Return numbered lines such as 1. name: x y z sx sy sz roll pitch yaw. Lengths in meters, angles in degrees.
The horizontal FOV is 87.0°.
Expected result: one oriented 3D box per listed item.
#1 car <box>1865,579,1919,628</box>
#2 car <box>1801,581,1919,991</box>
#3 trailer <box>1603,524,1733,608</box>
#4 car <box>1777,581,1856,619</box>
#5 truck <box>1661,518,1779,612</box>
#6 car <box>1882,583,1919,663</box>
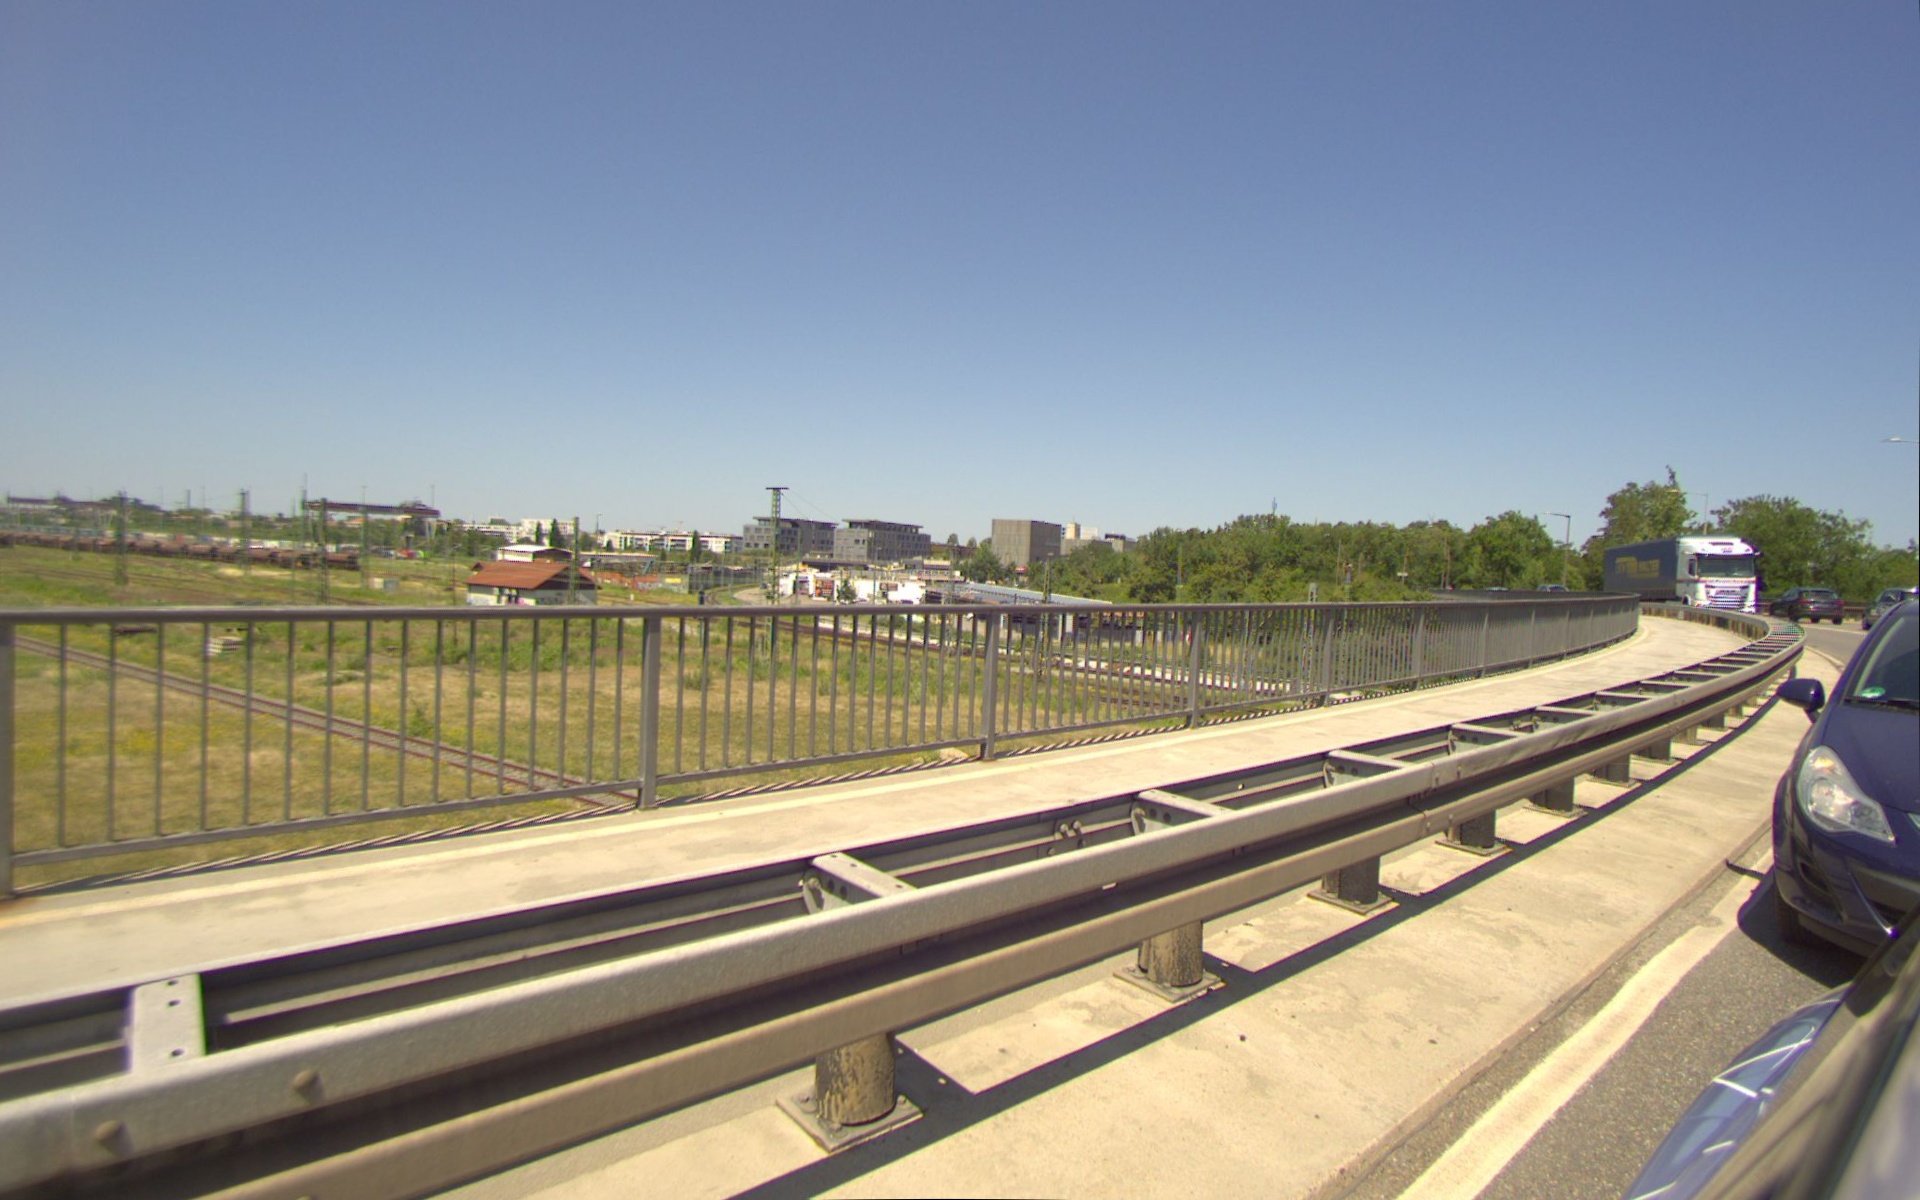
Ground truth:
1. car: 34.920 0.092 37.121 1.697 1.646 4.209 0 2 29
2. car: 5.136 0.650 4.634 1.641 1.457 3.936 1 1 45
3. trailer: 39.934 -1.872 57.679 2.667 4.287 12.636 0 1 19
4. car: 40.070 -0.053 47.446 1.789 1.661 4.262 1 1 26
5. truck: 37.257 -1.686 49.885 2.662 4.281 6.798 -1 1 19
6. car: 19.538 0.406 19.784 1.785 1.473 4.463 0 0 37
